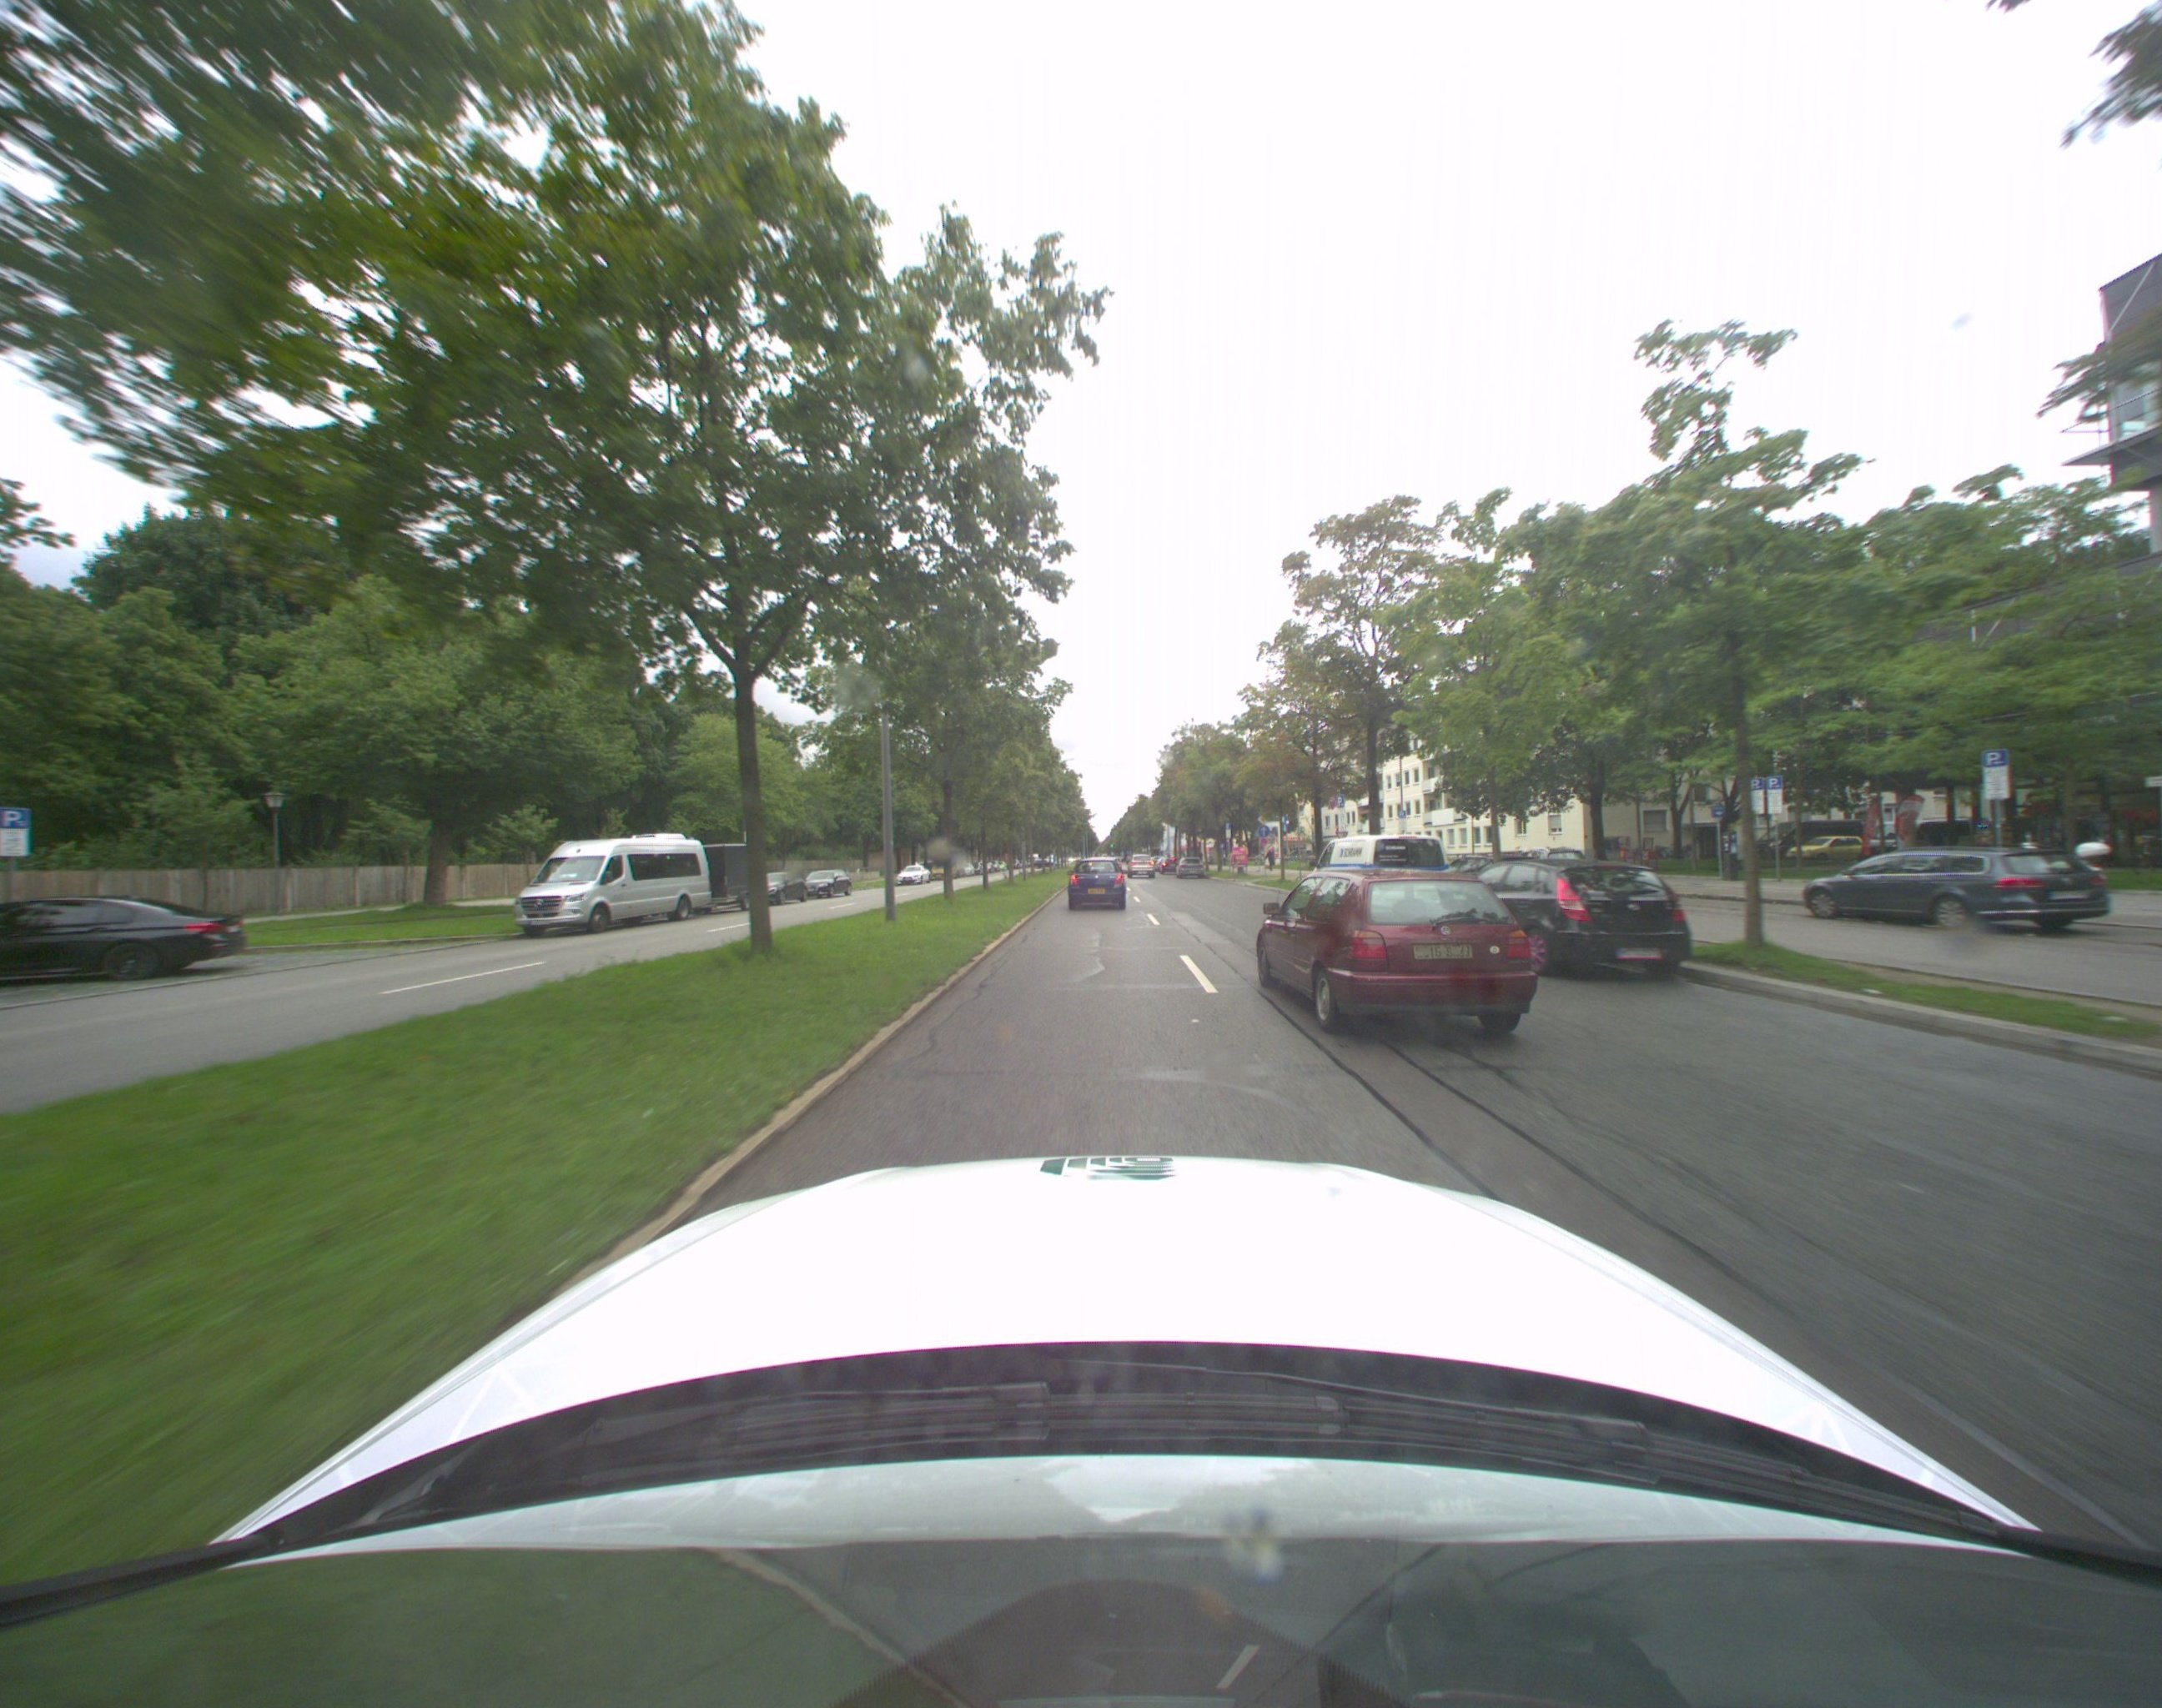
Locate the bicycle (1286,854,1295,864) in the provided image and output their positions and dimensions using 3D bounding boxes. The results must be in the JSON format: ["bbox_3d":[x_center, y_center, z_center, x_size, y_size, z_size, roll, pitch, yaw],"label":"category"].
[{"bbox_3d":[21.408,0.491,83.130,0.429,1.028,1.885,-2,0,2],"label":"bicycle"}]

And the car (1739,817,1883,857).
[{"bbox_3d":[41.726,-0.928,46.675,6.069,1.999,2.346,-2,0,1],"label":"car"}]

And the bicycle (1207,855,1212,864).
[{"bbox_3d":[16.556,0.692,104.668,0.387,1.105,1.854,-1,-1,2],"label":"bicycle"}]

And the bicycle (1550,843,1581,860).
[{"bbox_3d":[30.021,-0.151,50.456,1.687,0.971,0.455,-2,0,-3],"label":"bicycle"}]

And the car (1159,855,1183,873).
[{"bbox_3d":[7.773,0.852,70.475,1.743,1.465,4.179,0,0,2],"label":"car"}]

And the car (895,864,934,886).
[{"bbox_3d":[-12.970,1.612,63.732,1.850,1.472,4.875,-3,0,1],"label":"car"}]

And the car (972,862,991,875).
[{"bbox_3d":[-12.000,1.694,98.283,1.601,1.444,4.280,-3,0,2],"label":"car"}]

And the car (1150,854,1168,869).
[{"bbox_3d":[8.292,0.821,86.831,1.710,1.533,4.277,0,0,2],"label":"car"}]

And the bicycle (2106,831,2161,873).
[{"bbox_3d":[29.448,-0.068,22.322,2.067,1.120,0.455,-2,0,1],"label":"bicycle"}]

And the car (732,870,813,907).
[{"bbox_3d":[-13.636,1.499,36.262,1.793,1.384,4.239,-3,0,2],"label":"car"}]

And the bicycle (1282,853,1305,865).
[{"bbox_3d":[18.389,0.431,70.505,1.874,1.028,0.432,-2,-1,-5],"label":"bicycle"}]

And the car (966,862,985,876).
[{"bbox_3d":[-11.943,1.645,92.354,1.608,1.417,3.896,-3,0,-1],"label":"car"}]

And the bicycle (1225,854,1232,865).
[{"bbox_3d":[15.513,0.593,85.584,0.429,1.133,1.885,-2,0,2],"label":"bicycle"}]

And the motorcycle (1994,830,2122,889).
[{"bbox_3d":[22.089,0.125,18.472,0.470,1.230,1.948,-5,-1,1],"label":"motorcycle"}]

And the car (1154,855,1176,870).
[{"bbox_3d":[8.309,0.816,80.721,1.631,1.386,4.241,0,0,-1],"label":"car"}]

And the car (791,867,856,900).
[{"bbox_3d":[-13.295,1.488,42.300,1.793,1.425,4.433,-3,0,2],"label":"car"}]

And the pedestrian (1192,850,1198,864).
[{"bbox_3d":[14.683,0.390,105.198,0.586,1.890,0.902,-2,-1,0],"label":"pedestrian"}]

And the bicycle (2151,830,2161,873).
[{"bbox_3d":[29.434,-0.095,21.367,2.067,1.120,0.455,-2,0,1],"label":"bicycle"}]

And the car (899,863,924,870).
[{"bbox_3d":[-34.609,2.508,166.556,4.673,1.445,1.673,-1,-1,1],"label":"car"}]

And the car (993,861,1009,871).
[{"bbox_3d":[-11.547,1.740,117.679,1.541,1.409,3.883,-3,0,4],"label":"car"}]

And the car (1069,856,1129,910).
[{"bbox_3d":[0.522,0.818,24.888,1.676,1.502,3.919,-1,0,0],"label":"car"}]

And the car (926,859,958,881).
[{"bbox_3d":[-12.644,1.411,74.388,1.807,1.783,4.820,-3,0,2],"label":"car"}]

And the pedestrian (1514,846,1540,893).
[{"bbox_3d":[15.386,0.529,28.115,0.651,1.594,0.758,-2,0,20],"label":"pedestrian"}]

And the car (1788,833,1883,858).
[{"bbox_3d":[40.399,-0.459,43.649,3.728,1.201,1.584,-2,0,-2],"label":"car"}]

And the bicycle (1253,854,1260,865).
[{"bbox_3d":[17.941,0.541,83.253,0.429,1.101,1.885,-2,0,2],"label":"bicycle"}]

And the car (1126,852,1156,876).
[{"bbox_3d":[4.261,0.688,58.439,1.859,1.661,4.407,0,0,0],"label":"car"}]

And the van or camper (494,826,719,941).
[{"bbox_3d":[-13.800,0.759,24.575,2.027,2.837,7.549,-3,0,2],"label":"van or camper"}]

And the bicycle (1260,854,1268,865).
[{"bbox_3d":[18.638,0.552,83.147,0.429,1.028,1.885,-2,0,2],"label":"bicycle"}]

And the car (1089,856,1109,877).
[{"bbox_3d":[1.332,0.903,60.673,1.439,1.483,3.106,-1,0,0],"label":"car"}]

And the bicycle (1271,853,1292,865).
[{"bbox_3d":[18.441,0.500,74.916,1.872,1.028,0.432,-2,-1,-2],"label":"bicycle"}]

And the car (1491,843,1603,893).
[{"bbox_3d":[16.805,0.479,29.629,1.814,1.634,4.202,-2,0,4],"label":"car"}]

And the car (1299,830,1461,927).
[{"bbox_3d":[6.605,0.495,18.648,1.875,1.927,4.931,0,0,-1],"label":"car"}]

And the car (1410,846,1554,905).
[{"bbox_3d":[10.774,0.544,22.297,1.721,1.432,4.692,0,0,1],"label":"car"}]

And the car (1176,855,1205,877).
[{"bbox_3d":[7.556,0.836,56.604,1.675,1.465,4.117,0,0,2],"label":"car"}]

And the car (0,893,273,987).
[{"bbox_3d":[-17.576,1.495,14.615,4.010,1.434,1.785,0,-1,-29],"label":"car"}]

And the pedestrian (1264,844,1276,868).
[{"bbox_3d":[13.432,0.142,57.890,0.643,1.730,0.596,0,-1,-27],"label":"pedestrian"}]

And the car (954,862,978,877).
[{"bbox_3d":[-12.302,1.616,87.161,1.756,1.449,4.533,-3,0,1],"label":"car"}]

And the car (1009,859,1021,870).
[{"bbox_3d":[-10.905,1.756,134.912,1.711,1.741,3.879,-1,-1,1],"label":"car"}]

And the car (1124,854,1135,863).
[{"bbox_3d":[9.650,0.800,160.917,1.860,1.682,4.223,-2,0,0],"label":"car"}]

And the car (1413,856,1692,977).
[{"bbox_3d":[6.492,0.750,11.799,1.691,1.448,4.040,0,0,-1],"label":"car"}]

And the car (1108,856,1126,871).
[{"bbox_3d":[3.650,0.985,83.019,1.676,1.463,3.735,-1,0,1],"label":"car"}]

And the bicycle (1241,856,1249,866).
[{"bbox_3d":[16.838,0.739,83.508,0.429,1.028,1.885,-2,0,2],"label":"bicycle"}]

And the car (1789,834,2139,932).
[{"bbox_3d":[16.339,0.474,15.532,1.814,1.531,4.606,-2,0,3],"label":"car"}]

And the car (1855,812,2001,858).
[{"bbox_3d":[43.046,-0.947,41.429,6.098,2.053,2.335,-2,0,-13],"label":"car"}]

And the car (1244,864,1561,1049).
[{"bbox_3d":[2.861,0.810,8.213,1.676,1.384,3.918,0,0,0],"label":"car"}]

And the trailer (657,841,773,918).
[{"bbox_3d":[-13.608,0.890,30.629,2.009,2.590,4.660,-3,0,2],"label":"trailer"}]
